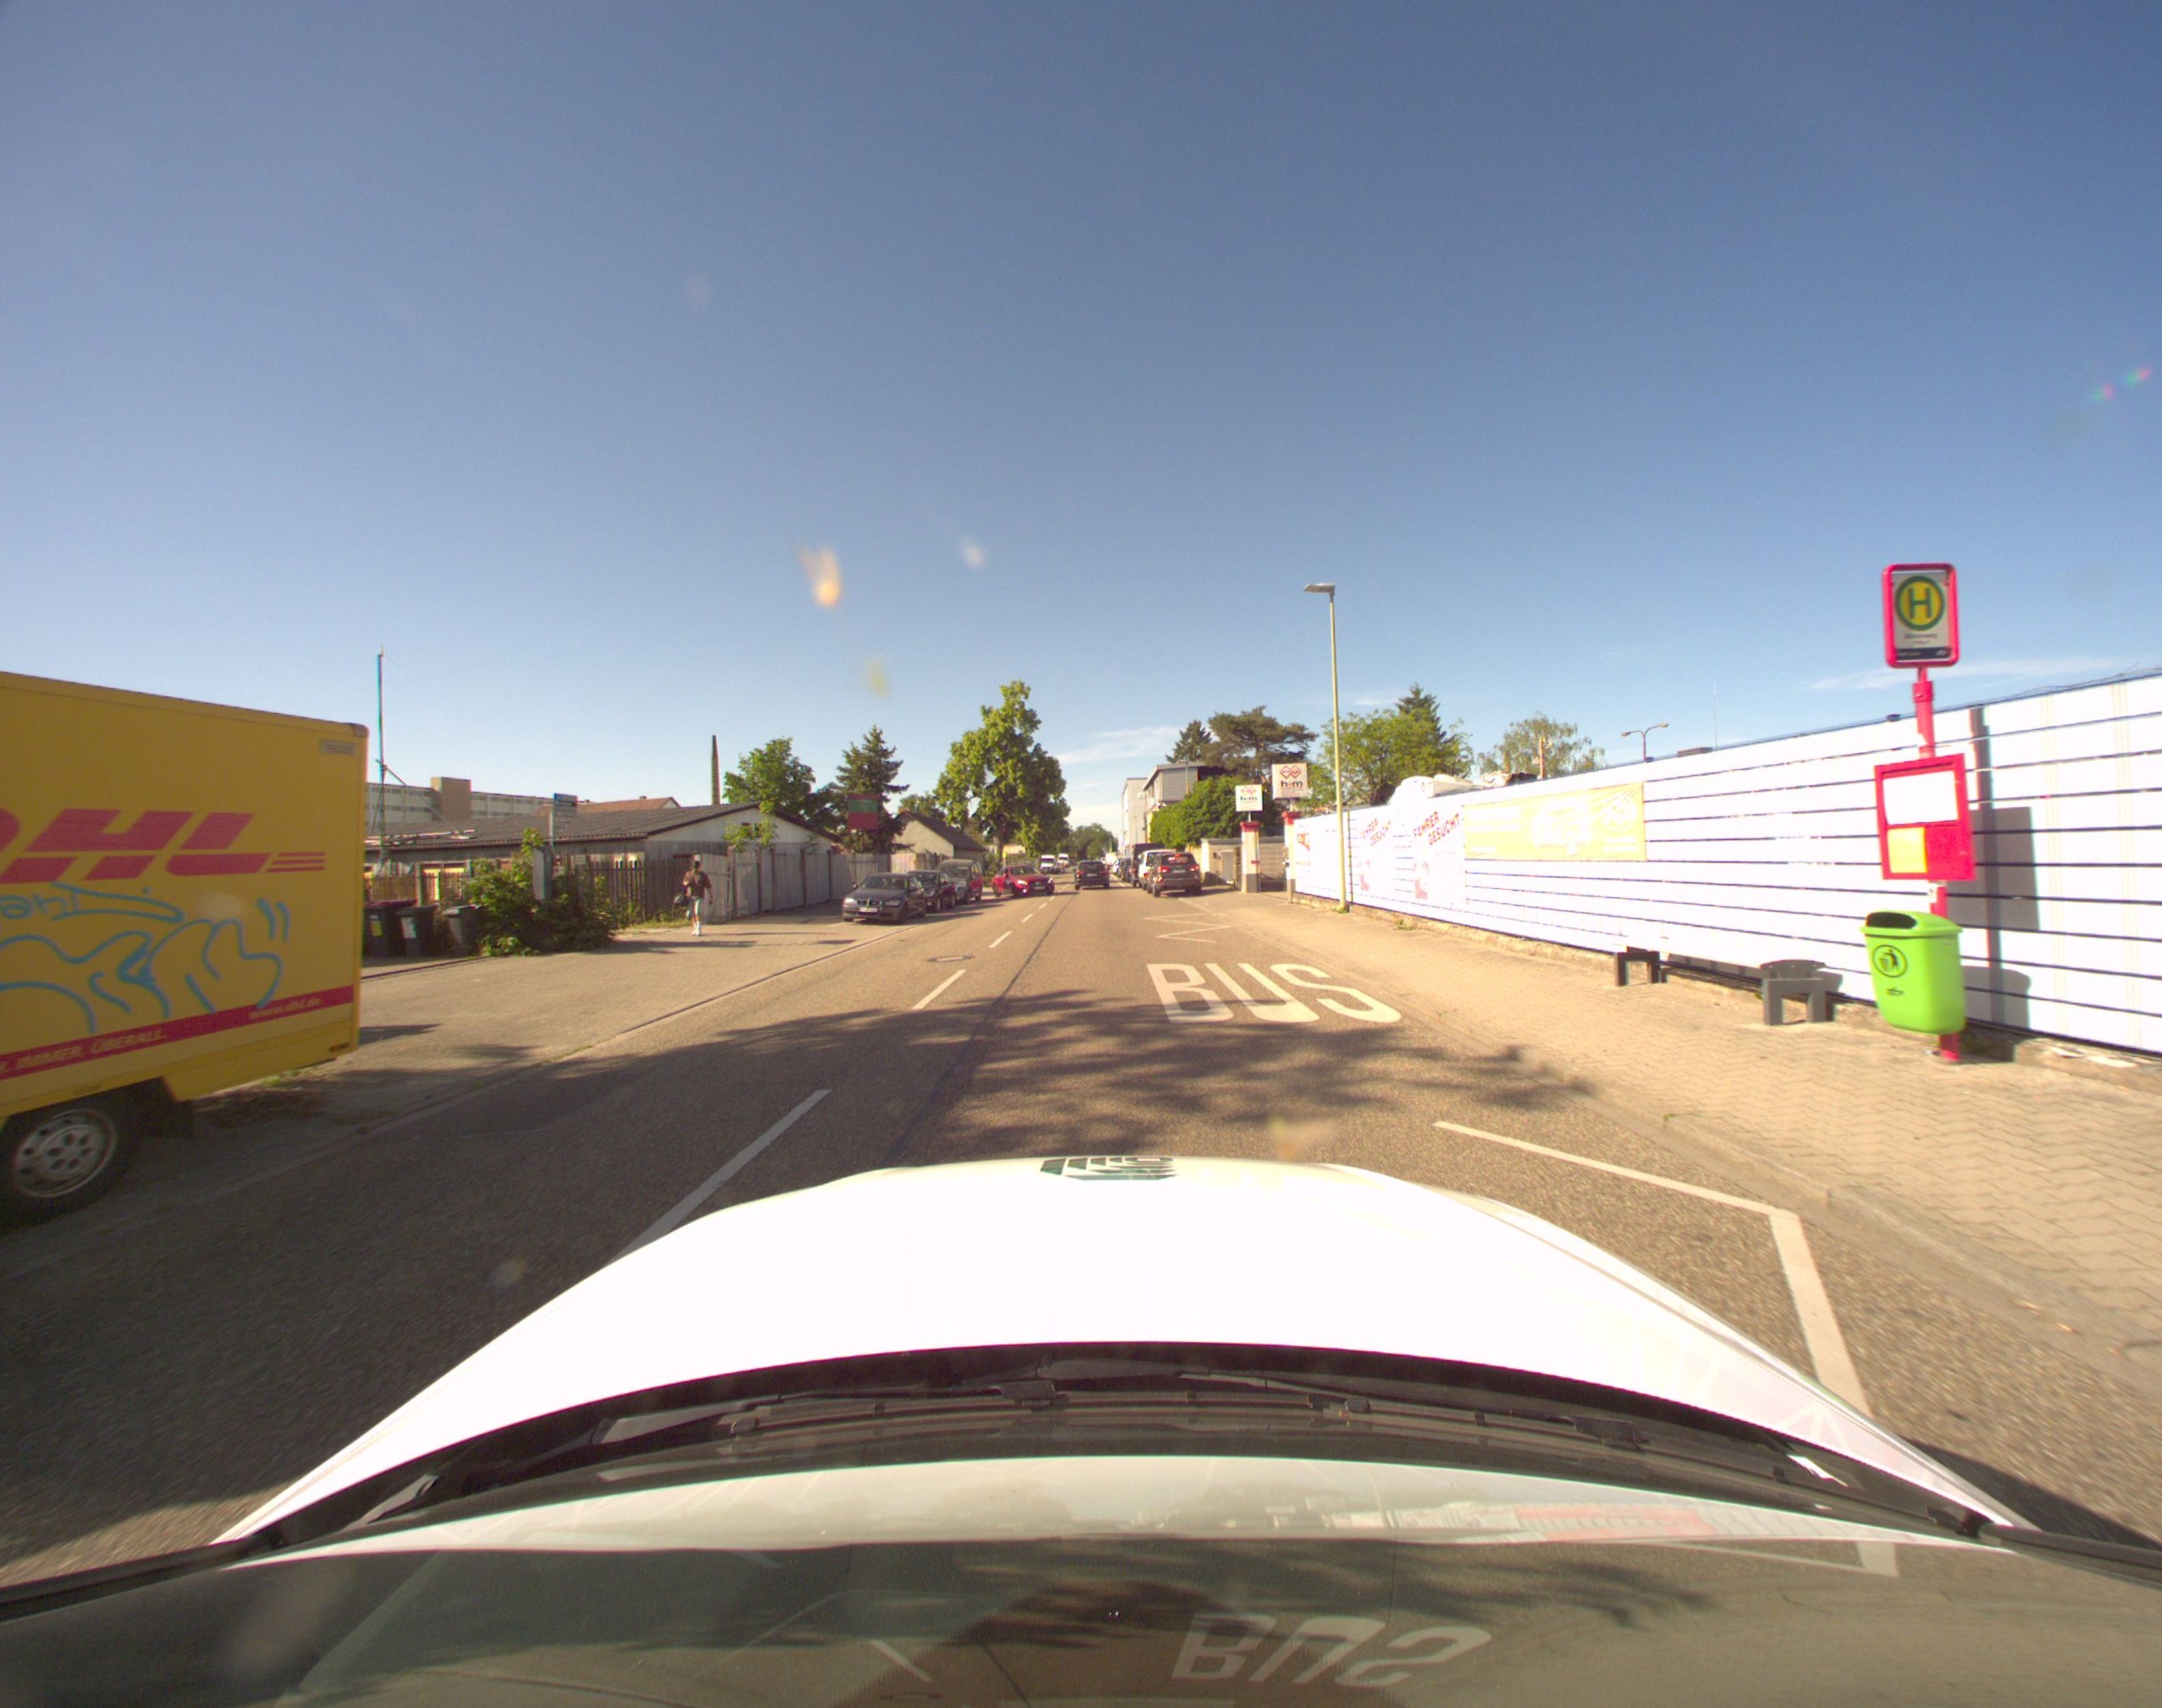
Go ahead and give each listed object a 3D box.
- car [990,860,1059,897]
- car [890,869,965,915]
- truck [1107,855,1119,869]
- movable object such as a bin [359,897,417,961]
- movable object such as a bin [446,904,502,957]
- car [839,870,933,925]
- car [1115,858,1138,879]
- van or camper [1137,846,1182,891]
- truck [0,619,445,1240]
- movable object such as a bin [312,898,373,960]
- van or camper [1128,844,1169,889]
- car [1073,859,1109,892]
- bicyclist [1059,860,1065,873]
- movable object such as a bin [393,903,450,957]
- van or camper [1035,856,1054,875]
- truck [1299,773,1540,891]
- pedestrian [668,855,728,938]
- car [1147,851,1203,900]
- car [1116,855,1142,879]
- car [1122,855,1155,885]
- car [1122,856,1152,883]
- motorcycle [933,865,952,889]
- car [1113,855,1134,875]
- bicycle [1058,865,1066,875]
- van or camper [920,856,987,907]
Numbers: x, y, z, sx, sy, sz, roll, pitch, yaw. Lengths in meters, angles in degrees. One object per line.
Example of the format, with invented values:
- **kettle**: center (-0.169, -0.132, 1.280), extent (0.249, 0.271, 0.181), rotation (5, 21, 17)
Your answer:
- **car**: center (-2.629, 1.105, 37.219), extent (1.884, 1.485, 4.013), rotation (-3, 0, -23)
- **car**: center (-5.563, 1.349, 29.926), extent (1.687, 1.469, 4.177), rotation (-2, 0, 3)
- **truck**: center (5.465, 1.351, 139.345), extent (1.986, 2.288, 6.957), rotation (-2, 0, 1)
- **movable object such as a bin**: center (-13.048, 1.397, 15.351), extent (0.495, 1.137, 0.642), rotation (-2, -1, 12)
- **movable object such as a bin**: center (-11.166, 1.401, 14.986), extent (0.495, 0.923, 0.642), rotation (-2, -1, 12)
- **car**: center (-5.826, 1.245, 24.860), extent (1.751, 1.403, 4.556), rotation (-2, 0, 0)
- **car**: center (4.033, 1.274, 72.678), extent (1.912, 1.825, 4.081), rotation (-2, 0, 1)
- **van or camper**: center (3.818, 0.698, 40.207), extent (1.912, 2.019, 4.081), rotation (-2, 0, 1)
- **truck**: center (-6.177, 0.349, 3.130), extent (2.184, 2.902, 6.442), rotation (0, 0, 2)
- **movable object such as a bin**: center (-14.071, 1.419, 15.528), extent (0.551, 1.108, 0.642), rotation (-2, -1, 12)
- **van or camper**: center (3.715, 0.687, 45.218), extent (1.986, 2.310, 4.001), rotation (-2, 0, 1)
- **car**: center (0.543, 1.046, 41.945), extent (1.705, 1.532, 3.689), rotation (-2, 0, 2)
- **bicyclist**: center (-2.353, 1.547, 100.386), extent (0.693, 1.539, 0.635), rotation (-2, -1, -1)
- **movable object such as a bin**: center (-12.358, 1.420, 15.261), extent (0.495, 0.954, 0.642), rotation (-2, -1, 12)
- **van or camper**: center (-4.815, 1.500, 106.860), extent (2.318, 2.362, 6.521), rotation (-2, 0, -3)
- **truck**: center (11.848, -0.738, 28.929), extent (7.357, 3.771, 2.830), rotation (-2, -1, -3)
- **pedestrian**: center (-8.906, 0.971, 18.972), extent (0.996, 1.838, 0.918), rotation (-2, -1, -8)
- **car**: center (3.806, 0.858, 33.571), extent (1.912, 1.825, 4.081), rotation (-2, 0, 1)
- **car**: center (3.932, 1.058, 67.365), extent (1.912, 1.825, 4.081), rotation (-2, 0, 1)
- **car**: center (3.654, 1.022, 52.617), extent (1.912, 1.825, 4.081), rotation (-2, 0, 1)
- **car**: center (3.941, 1.088, 57.771), extent (1.912, 1.825, 4.081), rotation (-2, 0, 1)
- **motorcycle**: center (-8.737, 1.445, 51.385), extent (0.774, 1.445, 2.039), rotation (-2, 0, 2)
- **car**: center (4.082, 1.075, 79.104), extent (1.912, 1.825, 4.081), rotation (-2, 0, 1)
- **bicycle**: center (-2.347, 1.937, 99.987), extent (0.826, 1.153, 2.940), rotation (-2, 0, 0)
- **van or camper**: center (-5.313, 1.132, 34.450), extent (1.883, 1.926, 4.268), rotation (-3, -1, 2)
